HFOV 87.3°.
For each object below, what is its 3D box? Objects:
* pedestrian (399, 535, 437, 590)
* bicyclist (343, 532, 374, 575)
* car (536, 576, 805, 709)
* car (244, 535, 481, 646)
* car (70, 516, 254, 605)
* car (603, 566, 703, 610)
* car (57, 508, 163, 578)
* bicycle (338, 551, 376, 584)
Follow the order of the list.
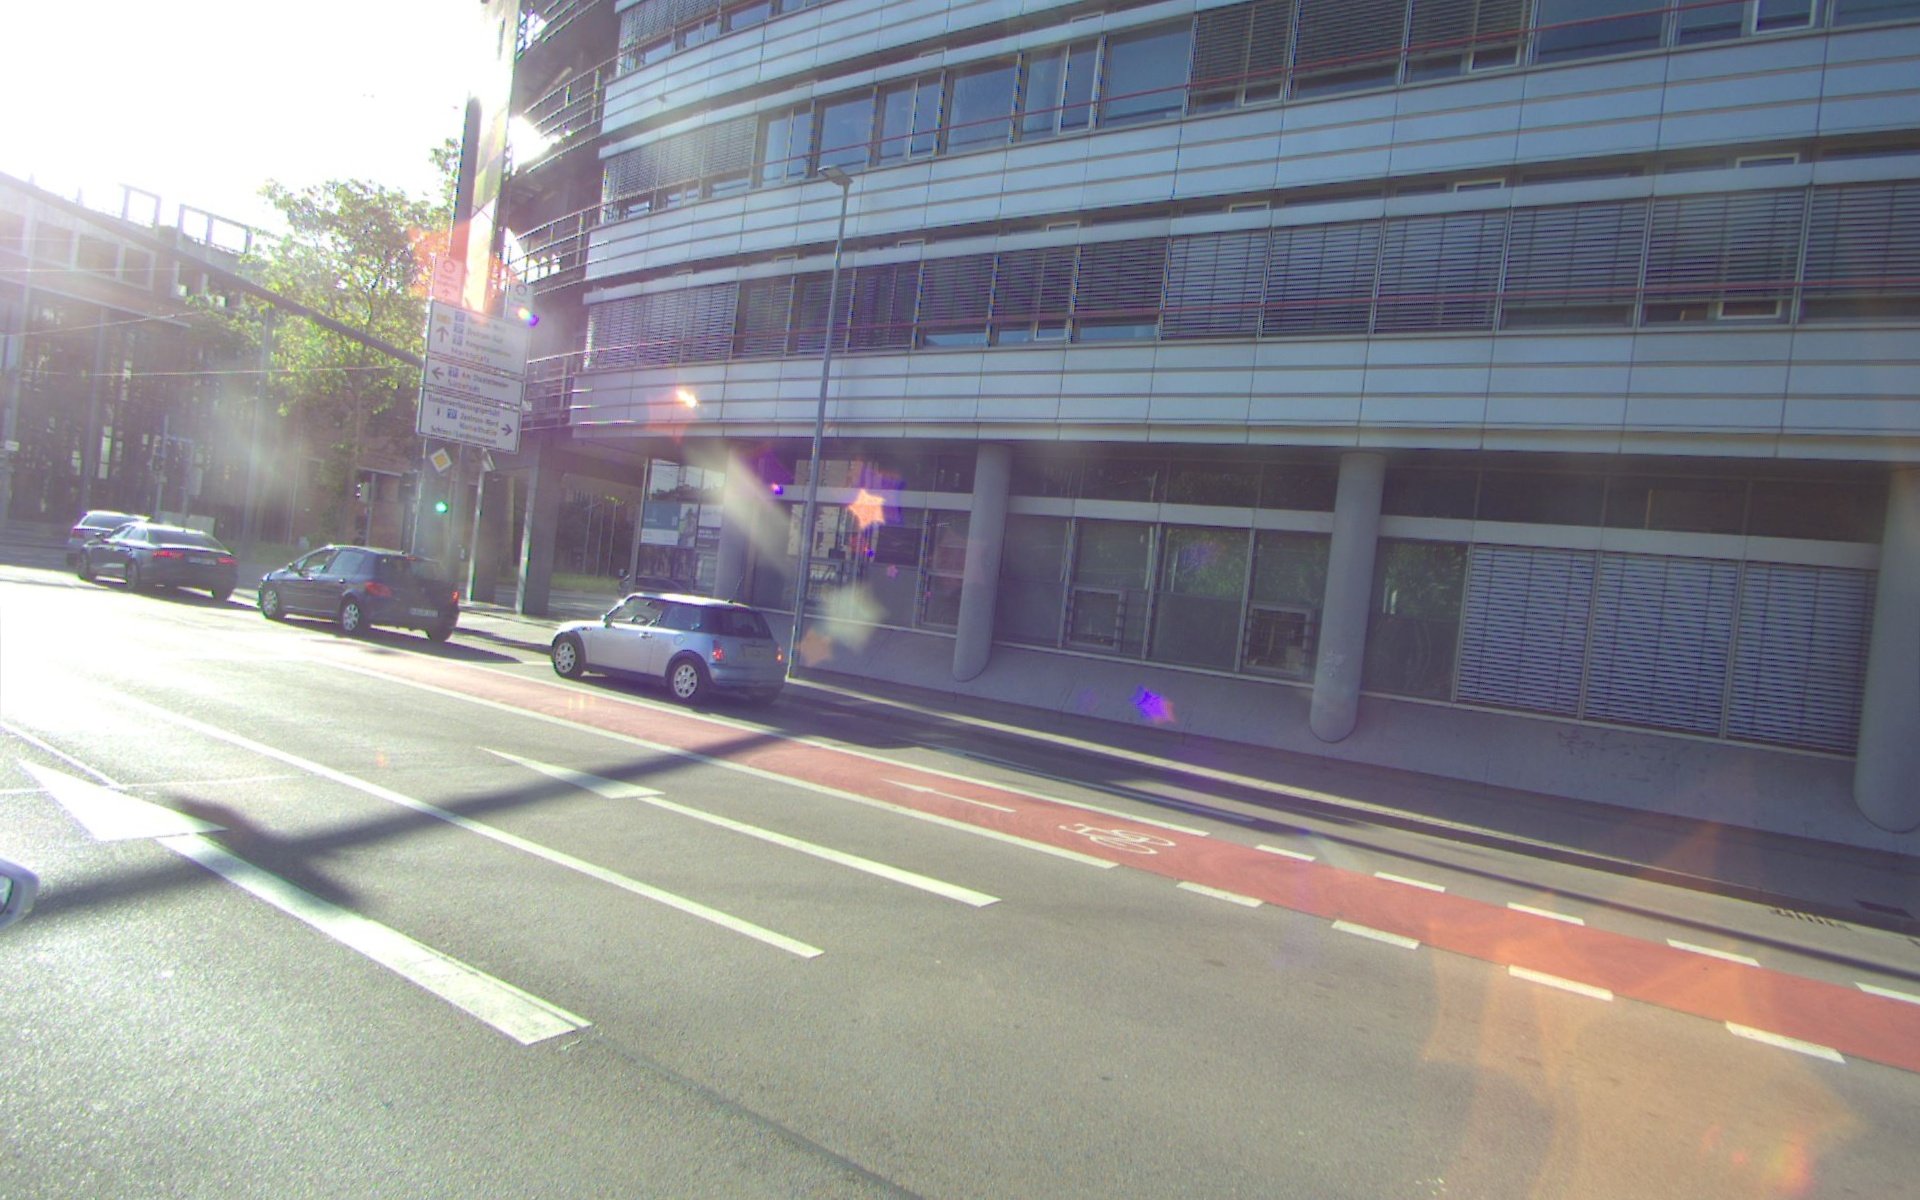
[{"bbox_3d":[-18.593,-1.284,34.499,0.578,1.754,0.790,6,-1,39],"label":"pedestrian"},{"bbox_3d":[-21.410,-1.646,35.841,0.657,1.425,0.811,7,1,-20],"label":"bicyclist"},{"bbox_3d":[-4.178,0.597,14.447,3.477,1.405,1.664,7,-1,31],"label":"car"},{"bbox_3d":[-10.742,-0.182,18.053,3.910,1.493,1.864,7,0,30],"label":"car"},{"bbox_3d":[-17.201,-0.872,21.649,3.951,1.457,1.698,6,-1,31],"label":"car"},{"bbox_3d":[-13.712,-0.520,45.110,1.837,1.492,3.968,7,-1,33],"label":"car"},{"bbox_3d":[-22.344,-1.514,26.575,1.685,1.493,3.944,7,0,-35],"label":"car"},{"bbox_3d":[-21.503,-1.164,35.926,0.657,1.031,2.174,8,1,-20],"label":"bicycle"}]
